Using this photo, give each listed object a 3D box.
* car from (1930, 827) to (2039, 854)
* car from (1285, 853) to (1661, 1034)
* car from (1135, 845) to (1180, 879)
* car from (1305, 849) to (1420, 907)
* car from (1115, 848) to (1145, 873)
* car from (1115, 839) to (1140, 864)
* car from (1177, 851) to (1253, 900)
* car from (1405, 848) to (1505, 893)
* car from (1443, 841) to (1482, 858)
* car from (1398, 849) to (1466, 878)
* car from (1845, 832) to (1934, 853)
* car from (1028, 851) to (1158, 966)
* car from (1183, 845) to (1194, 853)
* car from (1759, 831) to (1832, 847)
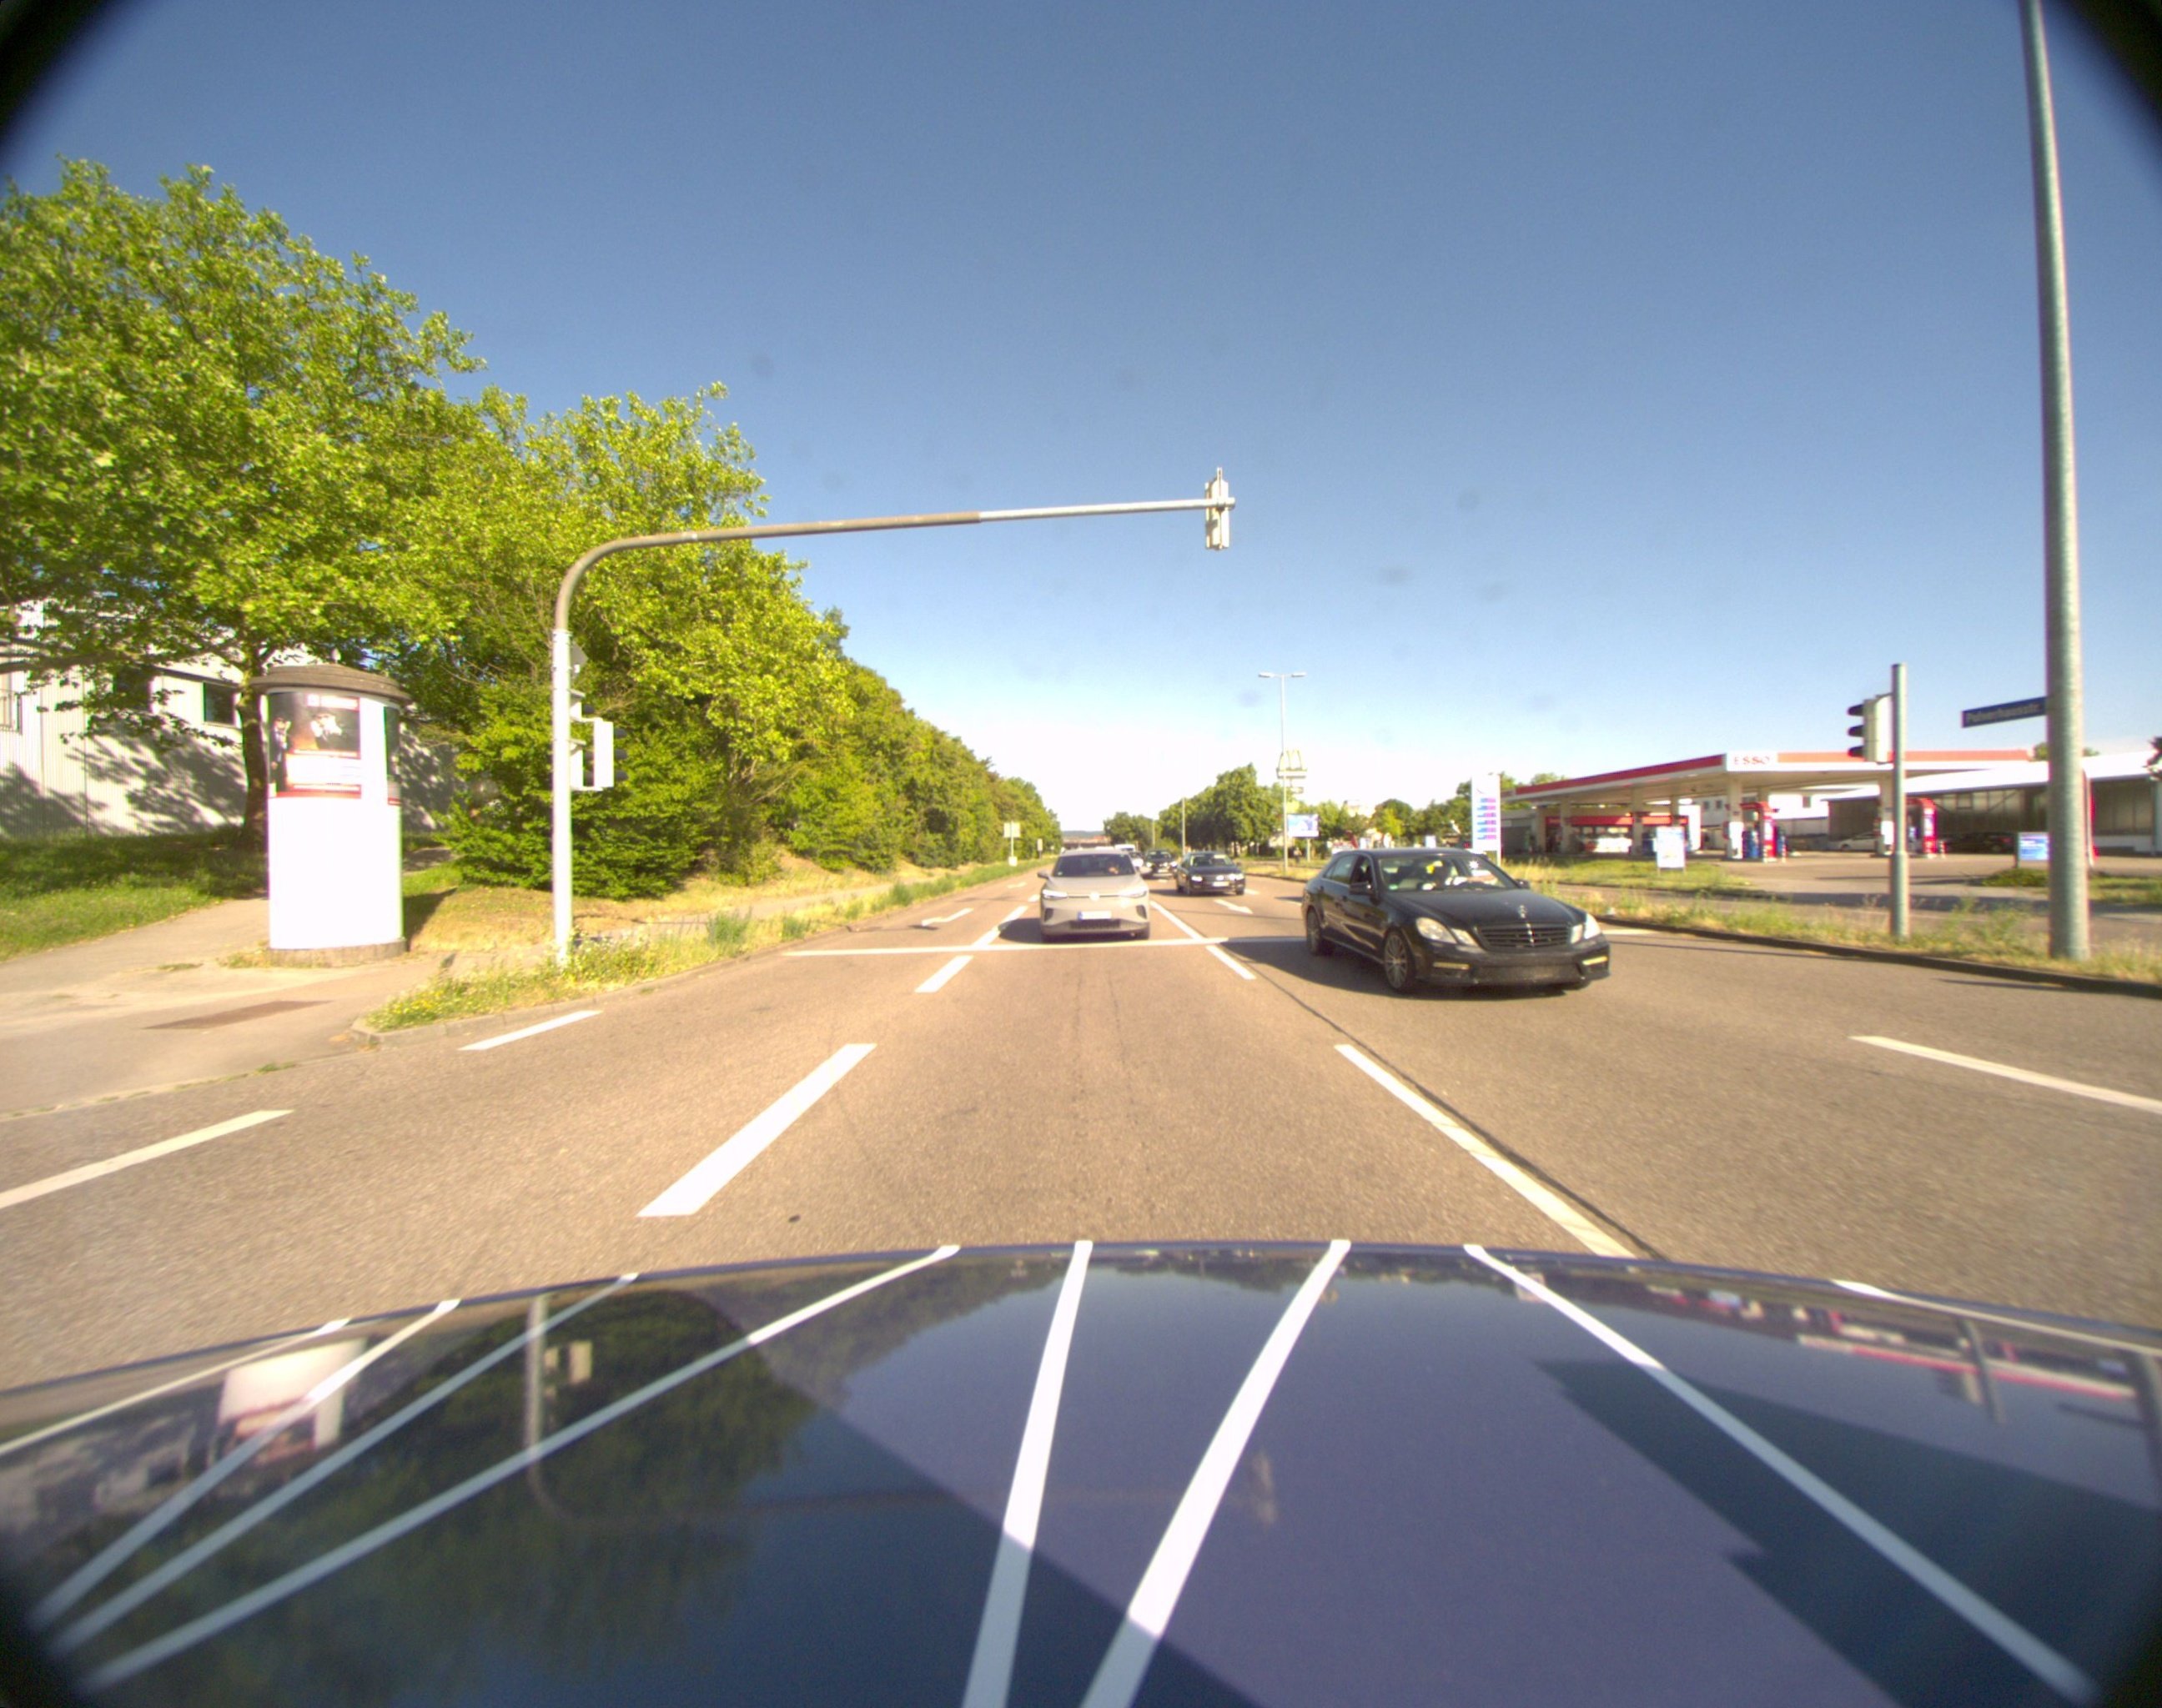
[{"bbox_3d":[56.550,-0.825,47.670,1.900,1.582,4.119,1,1,-1],"label":"car"},{"bbox_3d":[4.021,0.763,8.970,1.964,1.474,4.918,-1,1,1],"label":"car"},{"bbox_3d":[4.152,0.398,41.922,1.998,1.674,4.695,-2,1,1],"label":"car"},{"bbox_3d":[7.759,0.605,21.354,1.790,1.447,4.116,-1,1,1],"label":"car"},{"bbox_3d":[3.672,0.472,57.948,1.998,1.779,4.270,-2,1,1],"label":"car"},{"bbox_3d":[4.445,-0.254,73.268,2.089,2.230,3.999,-2,1,1],"label":"car"},{"bbox_3d":[4.419,0.666,25.678,1.848,1.445,4.265,-2,1,1],"label":"car"},{"bbox_3d":[12.936,0.537,26.519,1.699,1.424,3.664,1,1,1],"label":"car"},{"bbox_3d":[37.924,-0.469,75.704,1.762,1.604,4.118,1,1,-1],"label":"car"},{"bbox_3d":[19.113,0.477,41.602,1.699,1.424,4.458,1,1,1],"label":"car"},{"bbox_3d":[56.502,-0.795,53.205,1.772,1.432,4.119,0,1,-1],"label":"car"},{"bbox_3d":[0.213,0.791,13.214,1.848,1.615,4.265,-2,1,1],"label":"car"},{"bbox_3d":[21.310,-1.017,150.682,1.699,1.424,4.458,1,1,1],"label":"car"},{"bbox_3d":[56.836,-1.209,60.538,1.900,1.220,4.118,1,1,-1],"label":"car"}]
